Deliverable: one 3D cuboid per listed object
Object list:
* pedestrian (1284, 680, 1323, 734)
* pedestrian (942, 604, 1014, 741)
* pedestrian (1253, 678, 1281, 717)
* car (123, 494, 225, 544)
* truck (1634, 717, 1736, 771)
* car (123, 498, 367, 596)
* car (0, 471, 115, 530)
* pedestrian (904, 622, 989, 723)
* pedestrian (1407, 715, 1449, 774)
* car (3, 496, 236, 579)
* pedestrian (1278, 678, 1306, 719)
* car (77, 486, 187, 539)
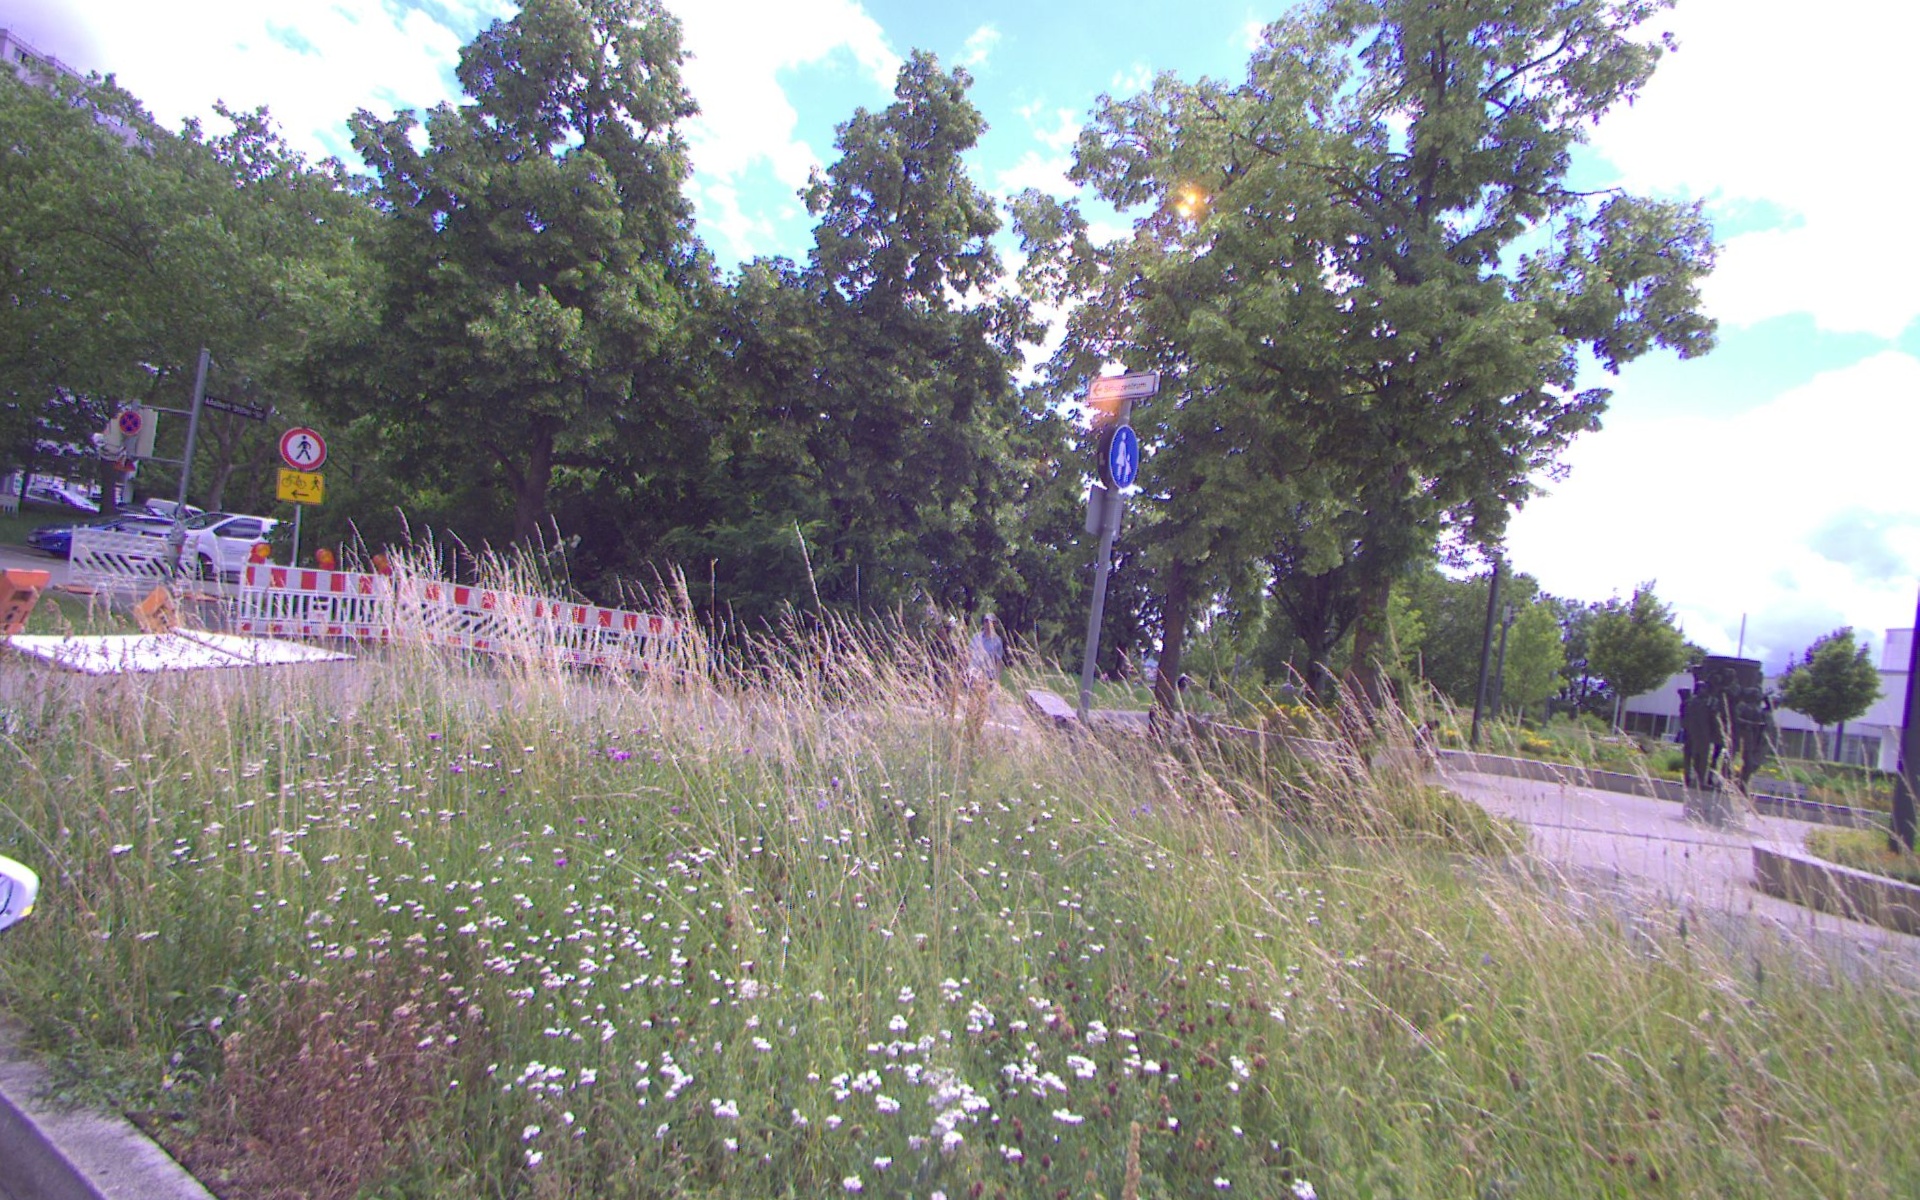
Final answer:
[{"bbox_3d":[14.095,4.391,41.281,1.137,2.037,0.817,8,0,30],"label":"pedestrian"},{"bbox_3d":[0.277,1.049,14.686,0.757,1.862,0.765,7,-1,7],"label":"pedestrian"},{"bbox_3d":[14.108,4.484,46.272,0.872,1.681,0.817,8,-1,30],"label":"pedestrian"},{"bbox_3d":[-44.246,-4.528,56.689,3.926,2.037,2.001,8,-1,0],"label":"car"},{"bbox_3d":[37.314,7.395,51.918,1.965,2.037,3.999,8,-1,-4],"label":"truck"},{"bbox_3d":[-19.721,-1.387,28.049,1.915,1.895,5.090,7,-2,28],"label":"car"},{"bbox_3d":[-43.698,-4.778,48.569,3.926,2.037,2.001,8,-1,0],"label":"car"},{"bbox_3d":[-0.225,1.236,17.093,0.831,1.570,0.945,7,-1,41],"label":"pedestrian"},{"bbox_3d":[10.772,3.308,23.147,0.623,1.236,0.618,7,-1,36],"label":"pedestrian"},{"bbox_3d":[-23.249,-1.680,28.032,1.955,1.503,4.486,7,-2,30],"label":"car"},{"bbox_3d":[15.106,4.477,45.781,0.879,1.732,0.817,8,-1,30],"label":"pedestrian"},{"bbox_3d":[-43.792,-4.601,53.286,3.926,2.037,2.001,8,-1,0],"label":"car"}]
